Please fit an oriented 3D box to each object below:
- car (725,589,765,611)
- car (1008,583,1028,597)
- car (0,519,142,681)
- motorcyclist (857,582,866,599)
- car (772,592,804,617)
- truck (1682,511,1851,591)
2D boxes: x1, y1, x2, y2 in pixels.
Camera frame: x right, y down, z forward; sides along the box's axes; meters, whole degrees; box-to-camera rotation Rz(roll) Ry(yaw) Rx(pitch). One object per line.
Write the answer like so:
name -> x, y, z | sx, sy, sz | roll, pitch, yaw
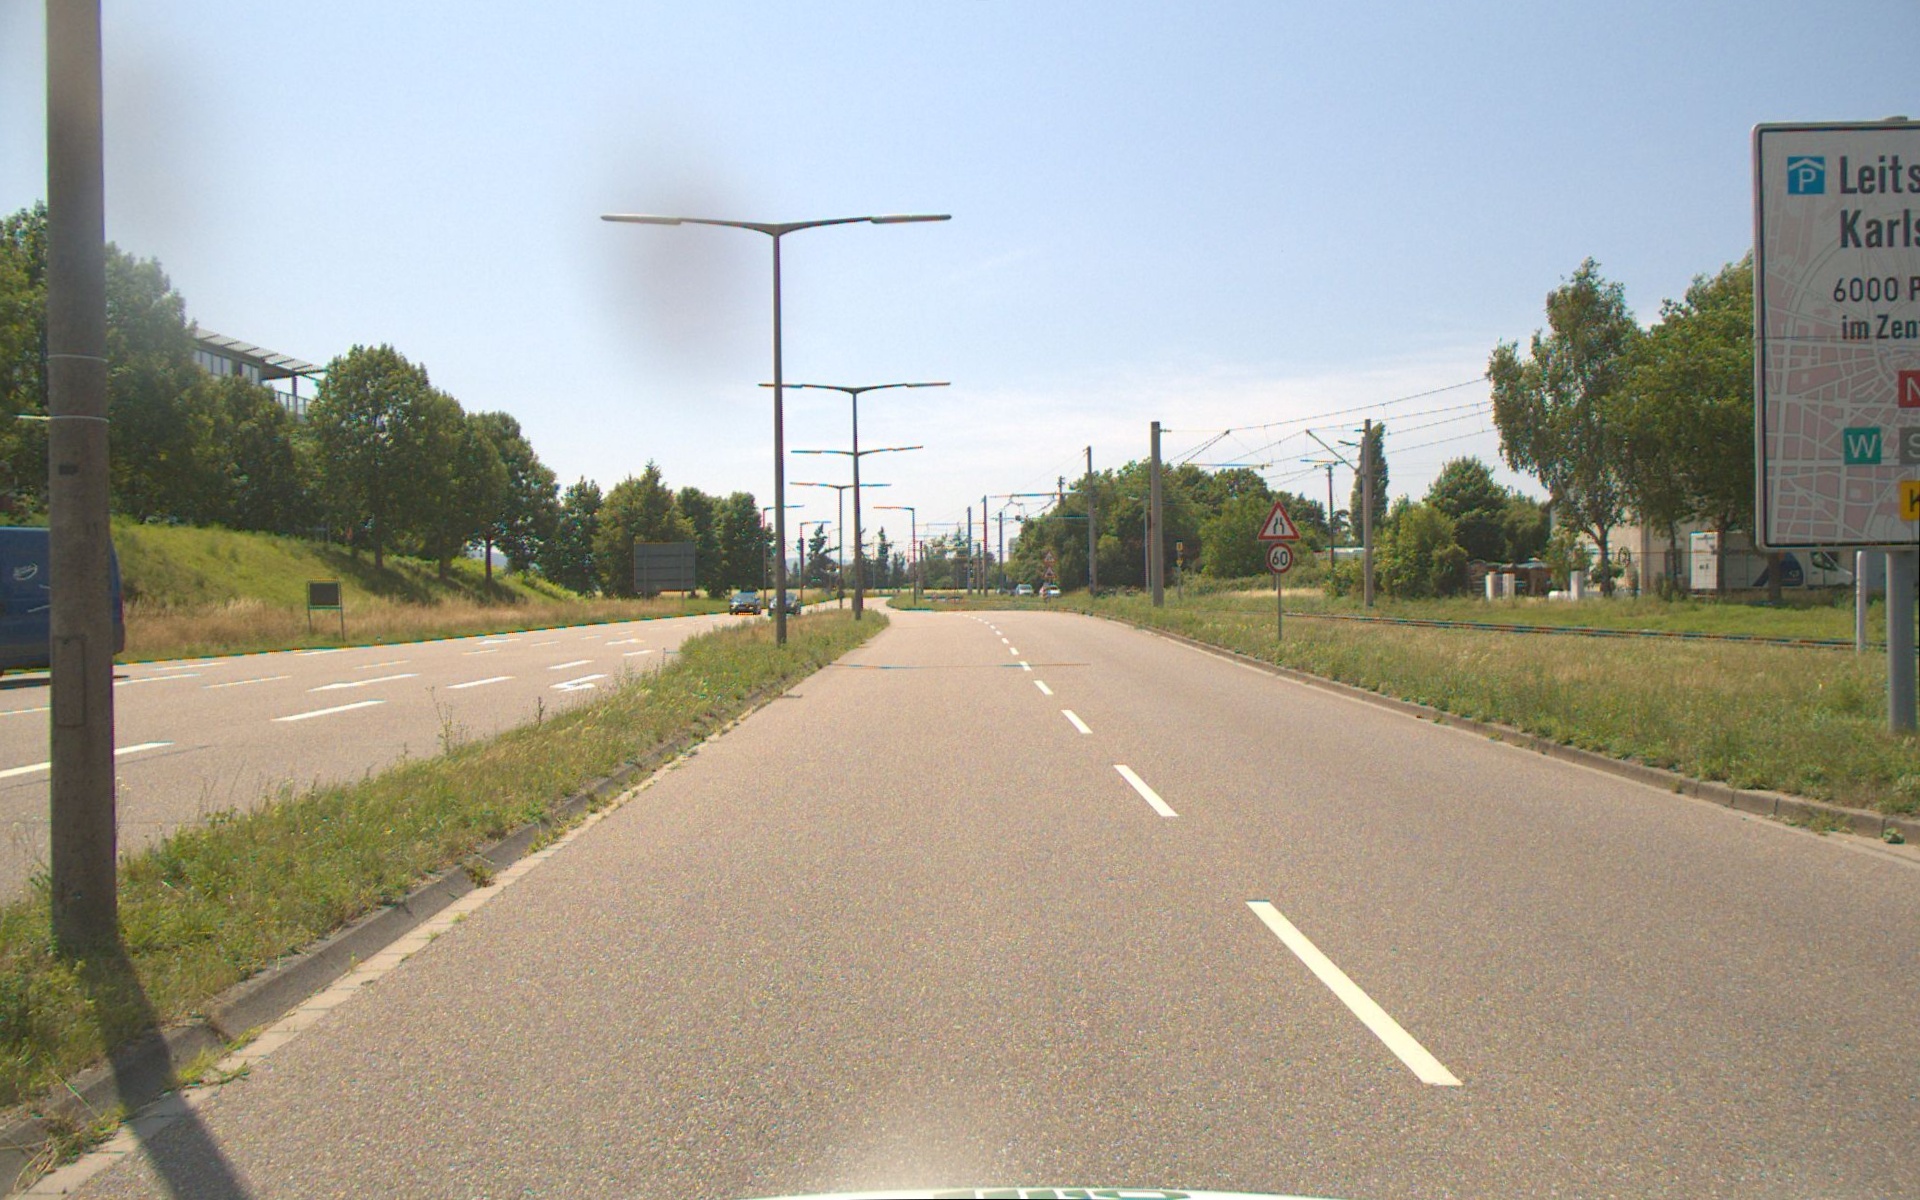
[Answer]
car -> -14.132, -0.018, 108.761 | 1.953, 1.383, 4.666 | -1, 0, 0
car -> 6.366, -1.105, 181.522 | 1.639, 1.422, 3.645 | 1, -1, -6
car -> -15.595, 0.001, 26.361 | 2.128, 2.453, 5.673 | -1, 0, 2
motorcyclist -> -13.976, -1.281, 235.304 | 1.205, 2.392, 1.107 | 0, -1, 1
car -> -10.652, 0.268, 102.692 | 1.658, 1.518, 3.998 | -1, 0, -2
truck -> 32.143, -1.950, 66.000 | 5.733, 2.893, 2.315 | -2, 0, -10
